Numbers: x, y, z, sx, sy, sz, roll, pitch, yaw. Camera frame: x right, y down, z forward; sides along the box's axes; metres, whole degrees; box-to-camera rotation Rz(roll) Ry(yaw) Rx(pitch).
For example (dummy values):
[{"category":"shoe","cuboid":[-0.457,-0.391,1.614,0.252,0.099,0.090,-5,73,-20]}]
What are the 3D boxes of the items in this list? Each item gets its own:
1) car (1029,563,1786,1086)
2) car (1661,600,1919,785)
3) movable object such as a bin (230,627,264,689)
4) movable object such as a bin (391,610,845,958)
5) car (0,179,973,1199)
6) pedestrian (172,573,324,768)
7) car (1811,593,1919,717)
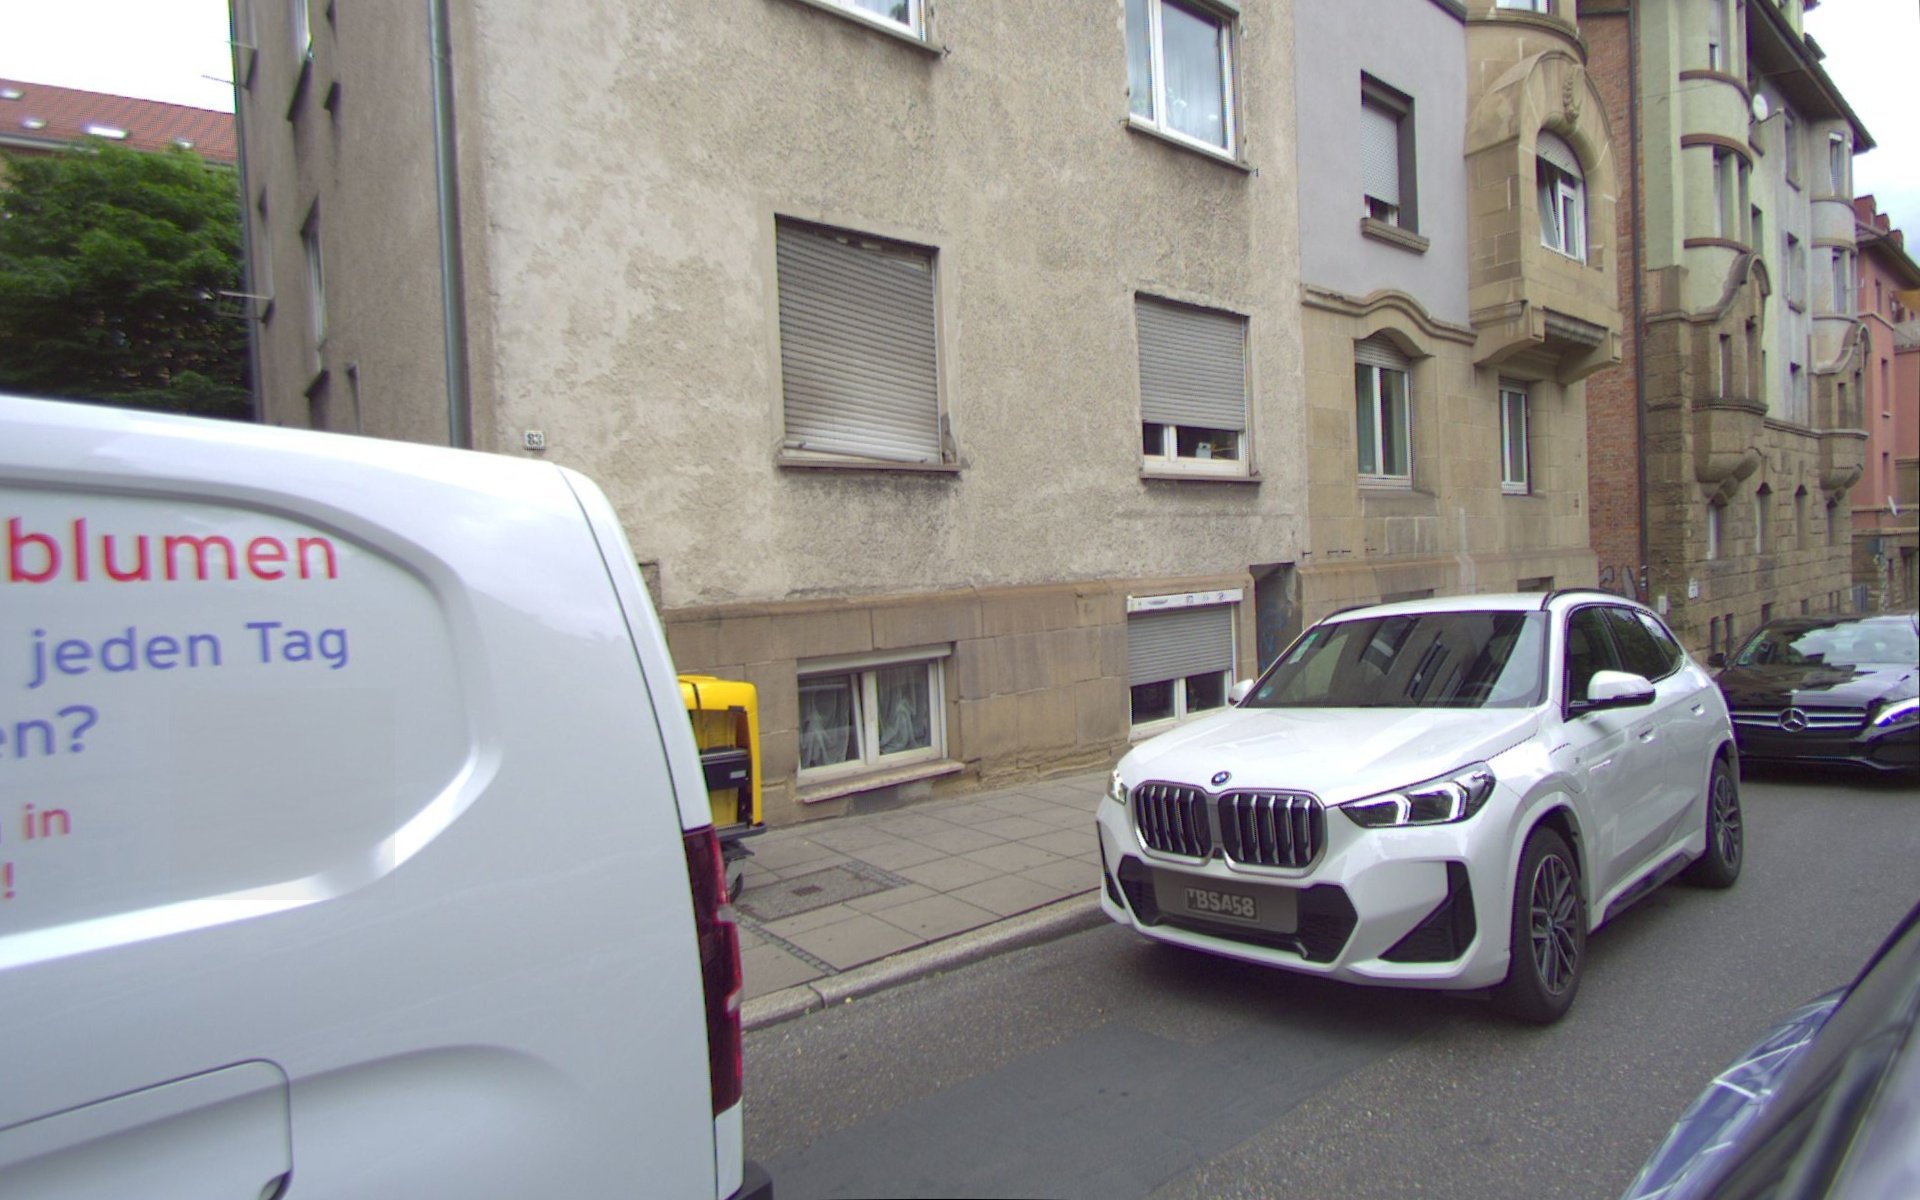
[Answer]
[{"category":"car","cuboid":[2.553,0.715,5.203,4.276,1.576,1.857,-1,-4,-41]},{"category":"car","cuboid":[8.440,0.735,9.618,4.133,1.395,1.882,-1,-3,-41]},{"category":"movable object such as a bin","cuboid":[-10.978,0.880,15.588,0.405,0.923,0.340,0,0,-40]},{"category":"movable object such as a bin","cuboid":[-1.777,0.789,5.395,1.979,1.391,1.223,-1,2,-43]},{"category":"car","cuboid":[-2.348,0.561,0.918,4.597,1.798,1.977,-1,-3,-42]},{"category":"pedestrian","cuboid":[-6.615,0.619,9.421,0.805,1.666,0.776,-1,5,32]},{"category":"car","cuboid":[13.530,0.659,13.955,4.226,1.534,1.935,-1,-3,-40]}]
